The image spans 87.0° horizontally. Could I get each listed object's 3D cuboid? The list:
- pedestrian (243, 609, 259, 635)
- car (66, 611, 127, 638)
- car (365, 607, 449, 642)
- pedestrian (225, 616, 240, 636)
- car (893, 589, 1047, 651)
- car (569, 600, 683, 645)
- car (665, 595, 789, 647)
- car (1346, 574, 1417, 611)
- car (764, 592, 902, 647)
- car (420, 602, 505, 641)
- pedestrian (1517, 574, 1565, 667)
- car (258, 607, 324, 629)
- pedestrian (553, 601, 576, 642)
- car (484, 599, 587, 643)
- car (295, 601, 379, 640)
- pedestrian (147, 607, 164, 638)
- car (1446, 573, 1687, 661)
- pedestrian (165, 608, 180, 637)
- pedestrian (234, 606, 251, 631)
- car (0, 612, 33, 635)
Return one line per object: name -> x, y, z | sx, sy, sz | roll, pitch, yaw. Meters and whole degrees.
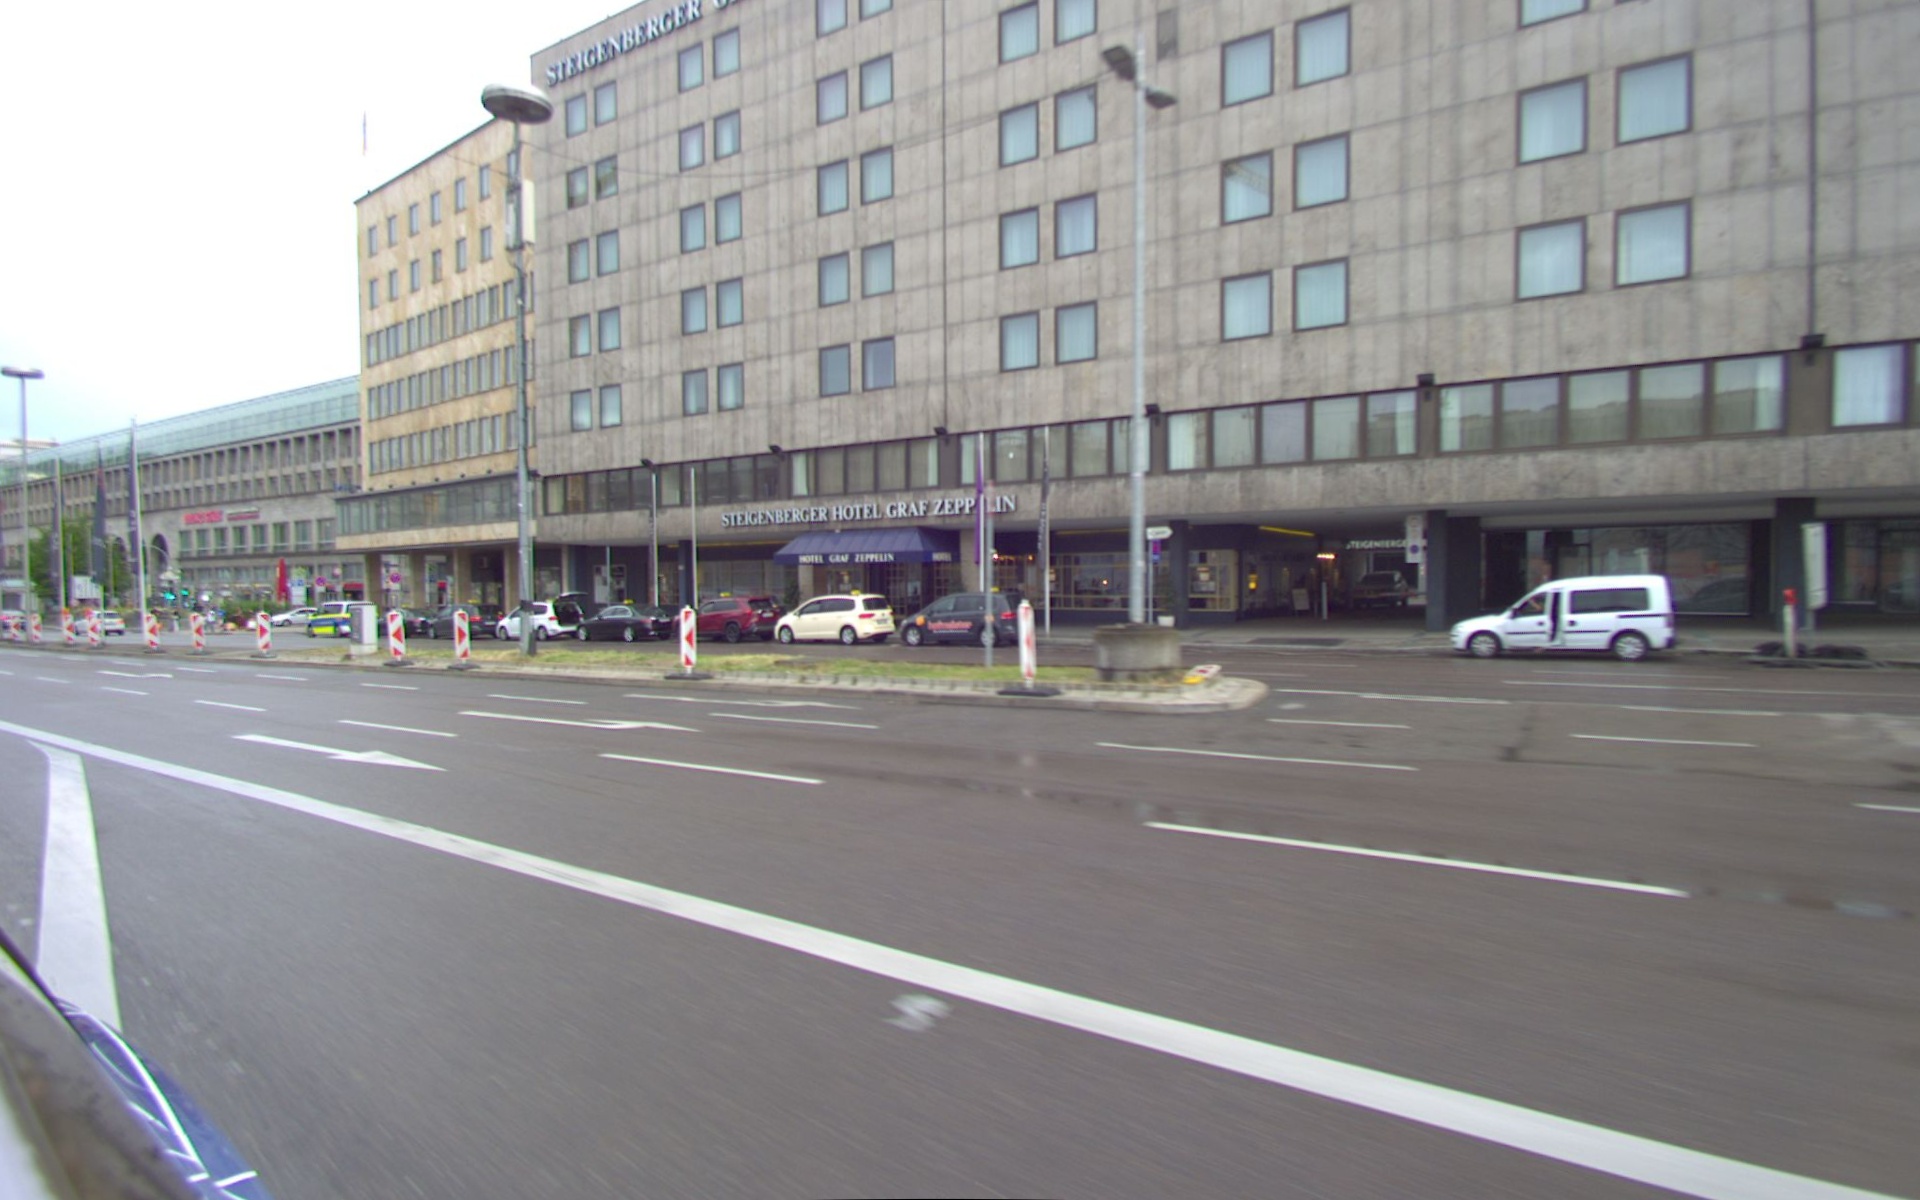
pedestrian -> -46.332, 1.424, 66.126 | 0.750, 1.681, 0.558 | -1, 0, 32
car -> -55.360, 1.554, 64.864 | 4.487, 1.681, 1.809 | -1, 0, 34
car -> -27.300, 1.201, 49.901 | 4.552, 1.633, 1.740 | -1, 0, 33
pedestrian -> -47.986, 1.690, 66.756 | 0.750, 1.301, 0.558 | -1, 0, 32
car -> 0.249, 0.583, 30.940 | 4.505, 1.741, 1.800 | -1, 0, 36
car -> -13.271, 0.901, 40.172 | 4.605, 1.672, 1.887 | -1, 0, 34
car -> -8.585, 0.756, 37.102 | 4.637, 1.781, 1.885 | -1, 0, 36
car -> 21.007, -0.384, 50.315 | 2.264, 1.741, 4.819 | -1, 0, 35
car -> -4.303, 0.639, 33.986 | 4.566, 1.711, 1.801 | -1, 0, 34
car -> -22.926, 0.986, 46.589 | 4.221, 1.694, 1.738 | -1, 0, 37
pedestrian -> 12.215, 0.427, 21.272 | 0.794, 1.900, 0.685 | -1, 0, 33
car -> -53.328, 1.426, 80.736 | 1.804, 1.652, 4.041 | -1, 0, 39
pedestrian -> -17.400, 0.938, 44.499 | 0.656, 1.794, 0.616 | 0, 2, 34
car -> -18.302, 0.891, 43.562 | 4.698, 1.771, 1.740 | -1, 0, 33
car -> -33.420, 1.107, 54.276 | 5.060, 1.943, 1.885 | -2, -1, 33
pedestrian -> -54.630, 1.522, 68.696 | 0.805, 2.029, 0.697 | -1, 0, 34
car -> 13.189, 0.357, 22.182 | 4.360, 1.776, 1.759 | -1, 0, 34
pedestrian -> -53.036, 1.521, 68.176 | 0.750, 1.939, 0.584 | -1, 0, 33
pedestrian -> -47.510, 1.210, 67.057 | 0.677, 1.604, 0.661 | -1, 0, 24
car -> -72.291, 1.798, 76.975 | 4.490, 1.682, 1.758 | -1, -1, 36
